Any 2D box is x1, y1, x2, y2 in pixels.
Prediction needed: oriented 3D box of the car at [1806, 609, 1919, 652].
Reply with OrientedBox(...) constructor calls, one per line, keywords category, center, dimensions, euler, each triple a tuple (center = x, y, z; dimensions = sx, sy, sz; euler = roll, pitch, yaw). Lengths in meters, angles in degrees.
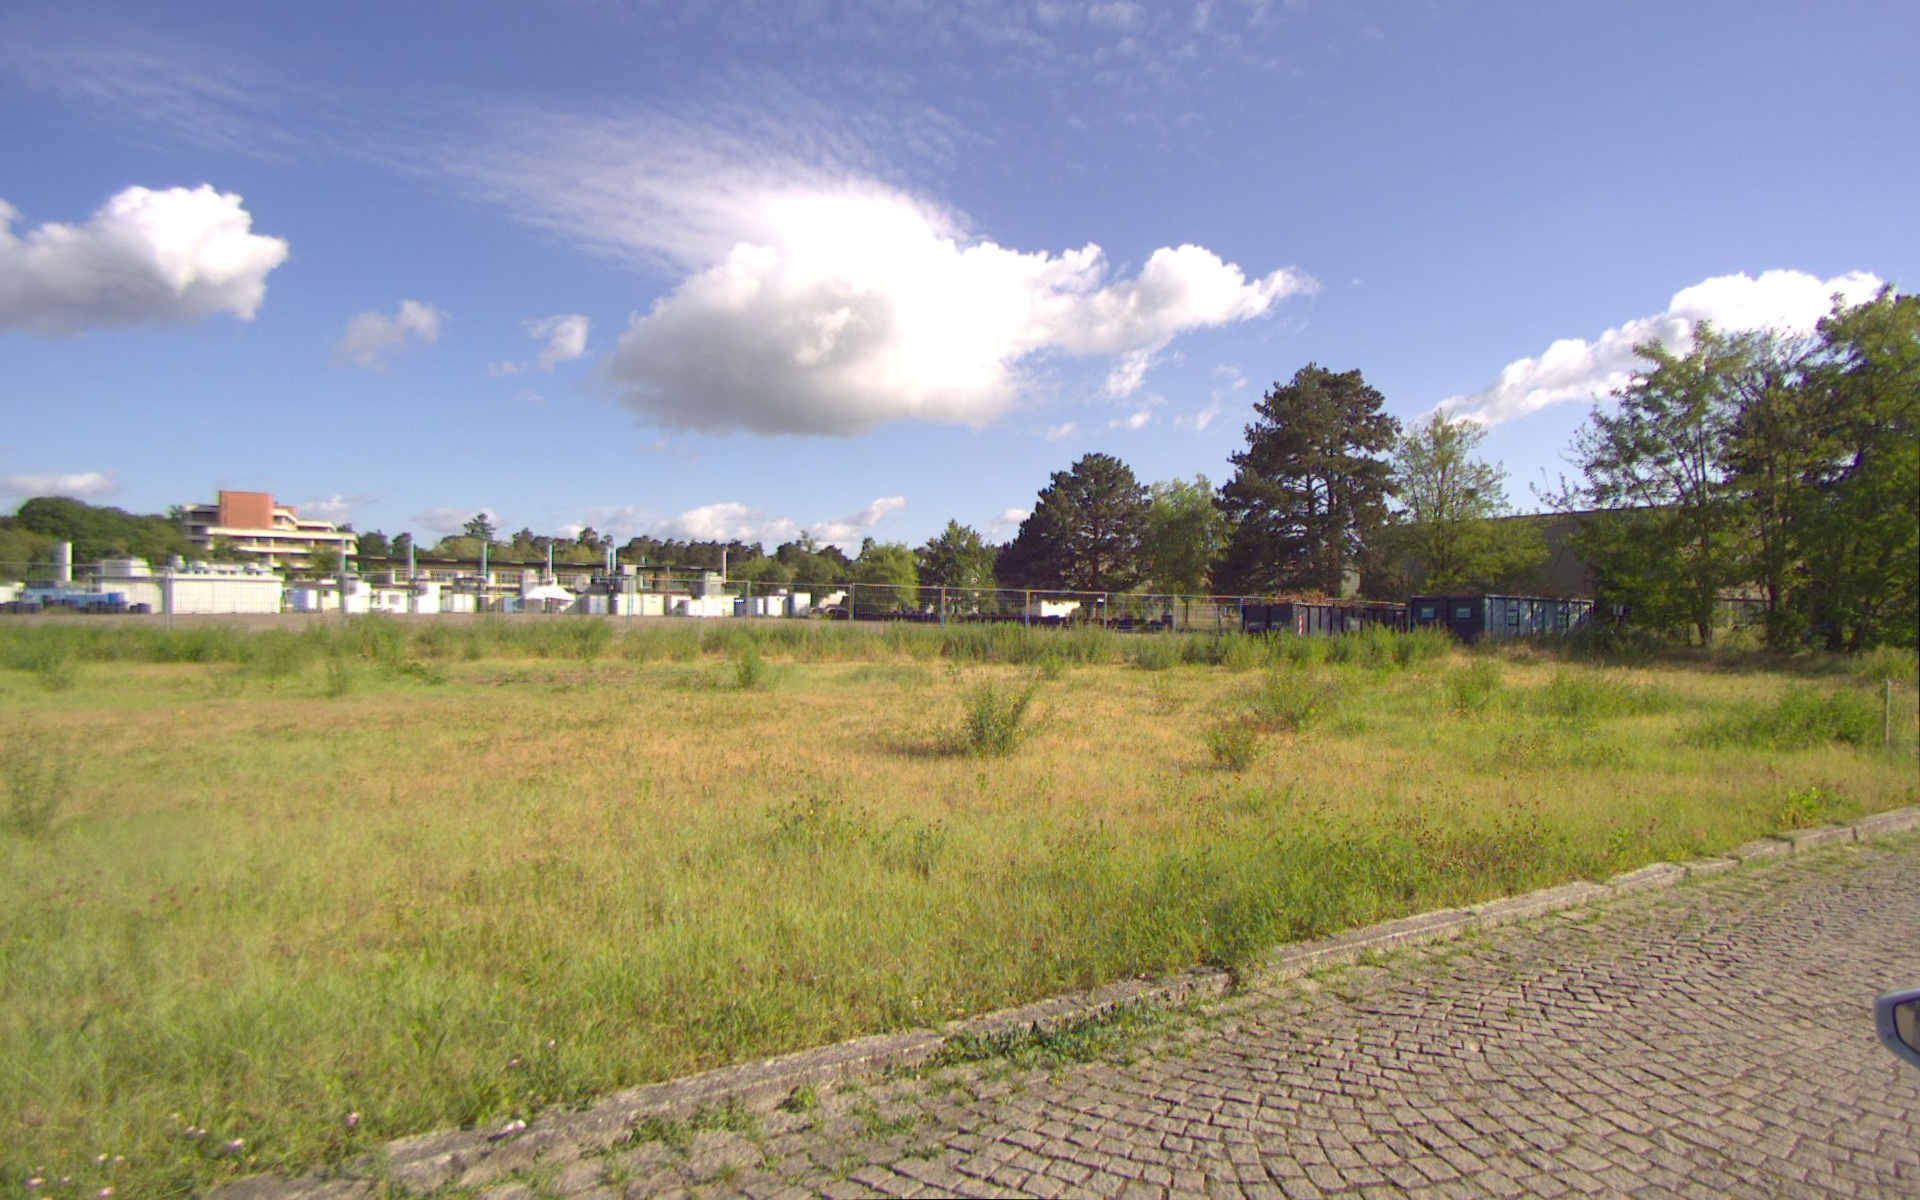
OrientedBox(category="car", center=(37.142, 1.205, 40.563), dimensions=(1.985, 1.630, 4.126), euler=(1, 0, -29))
